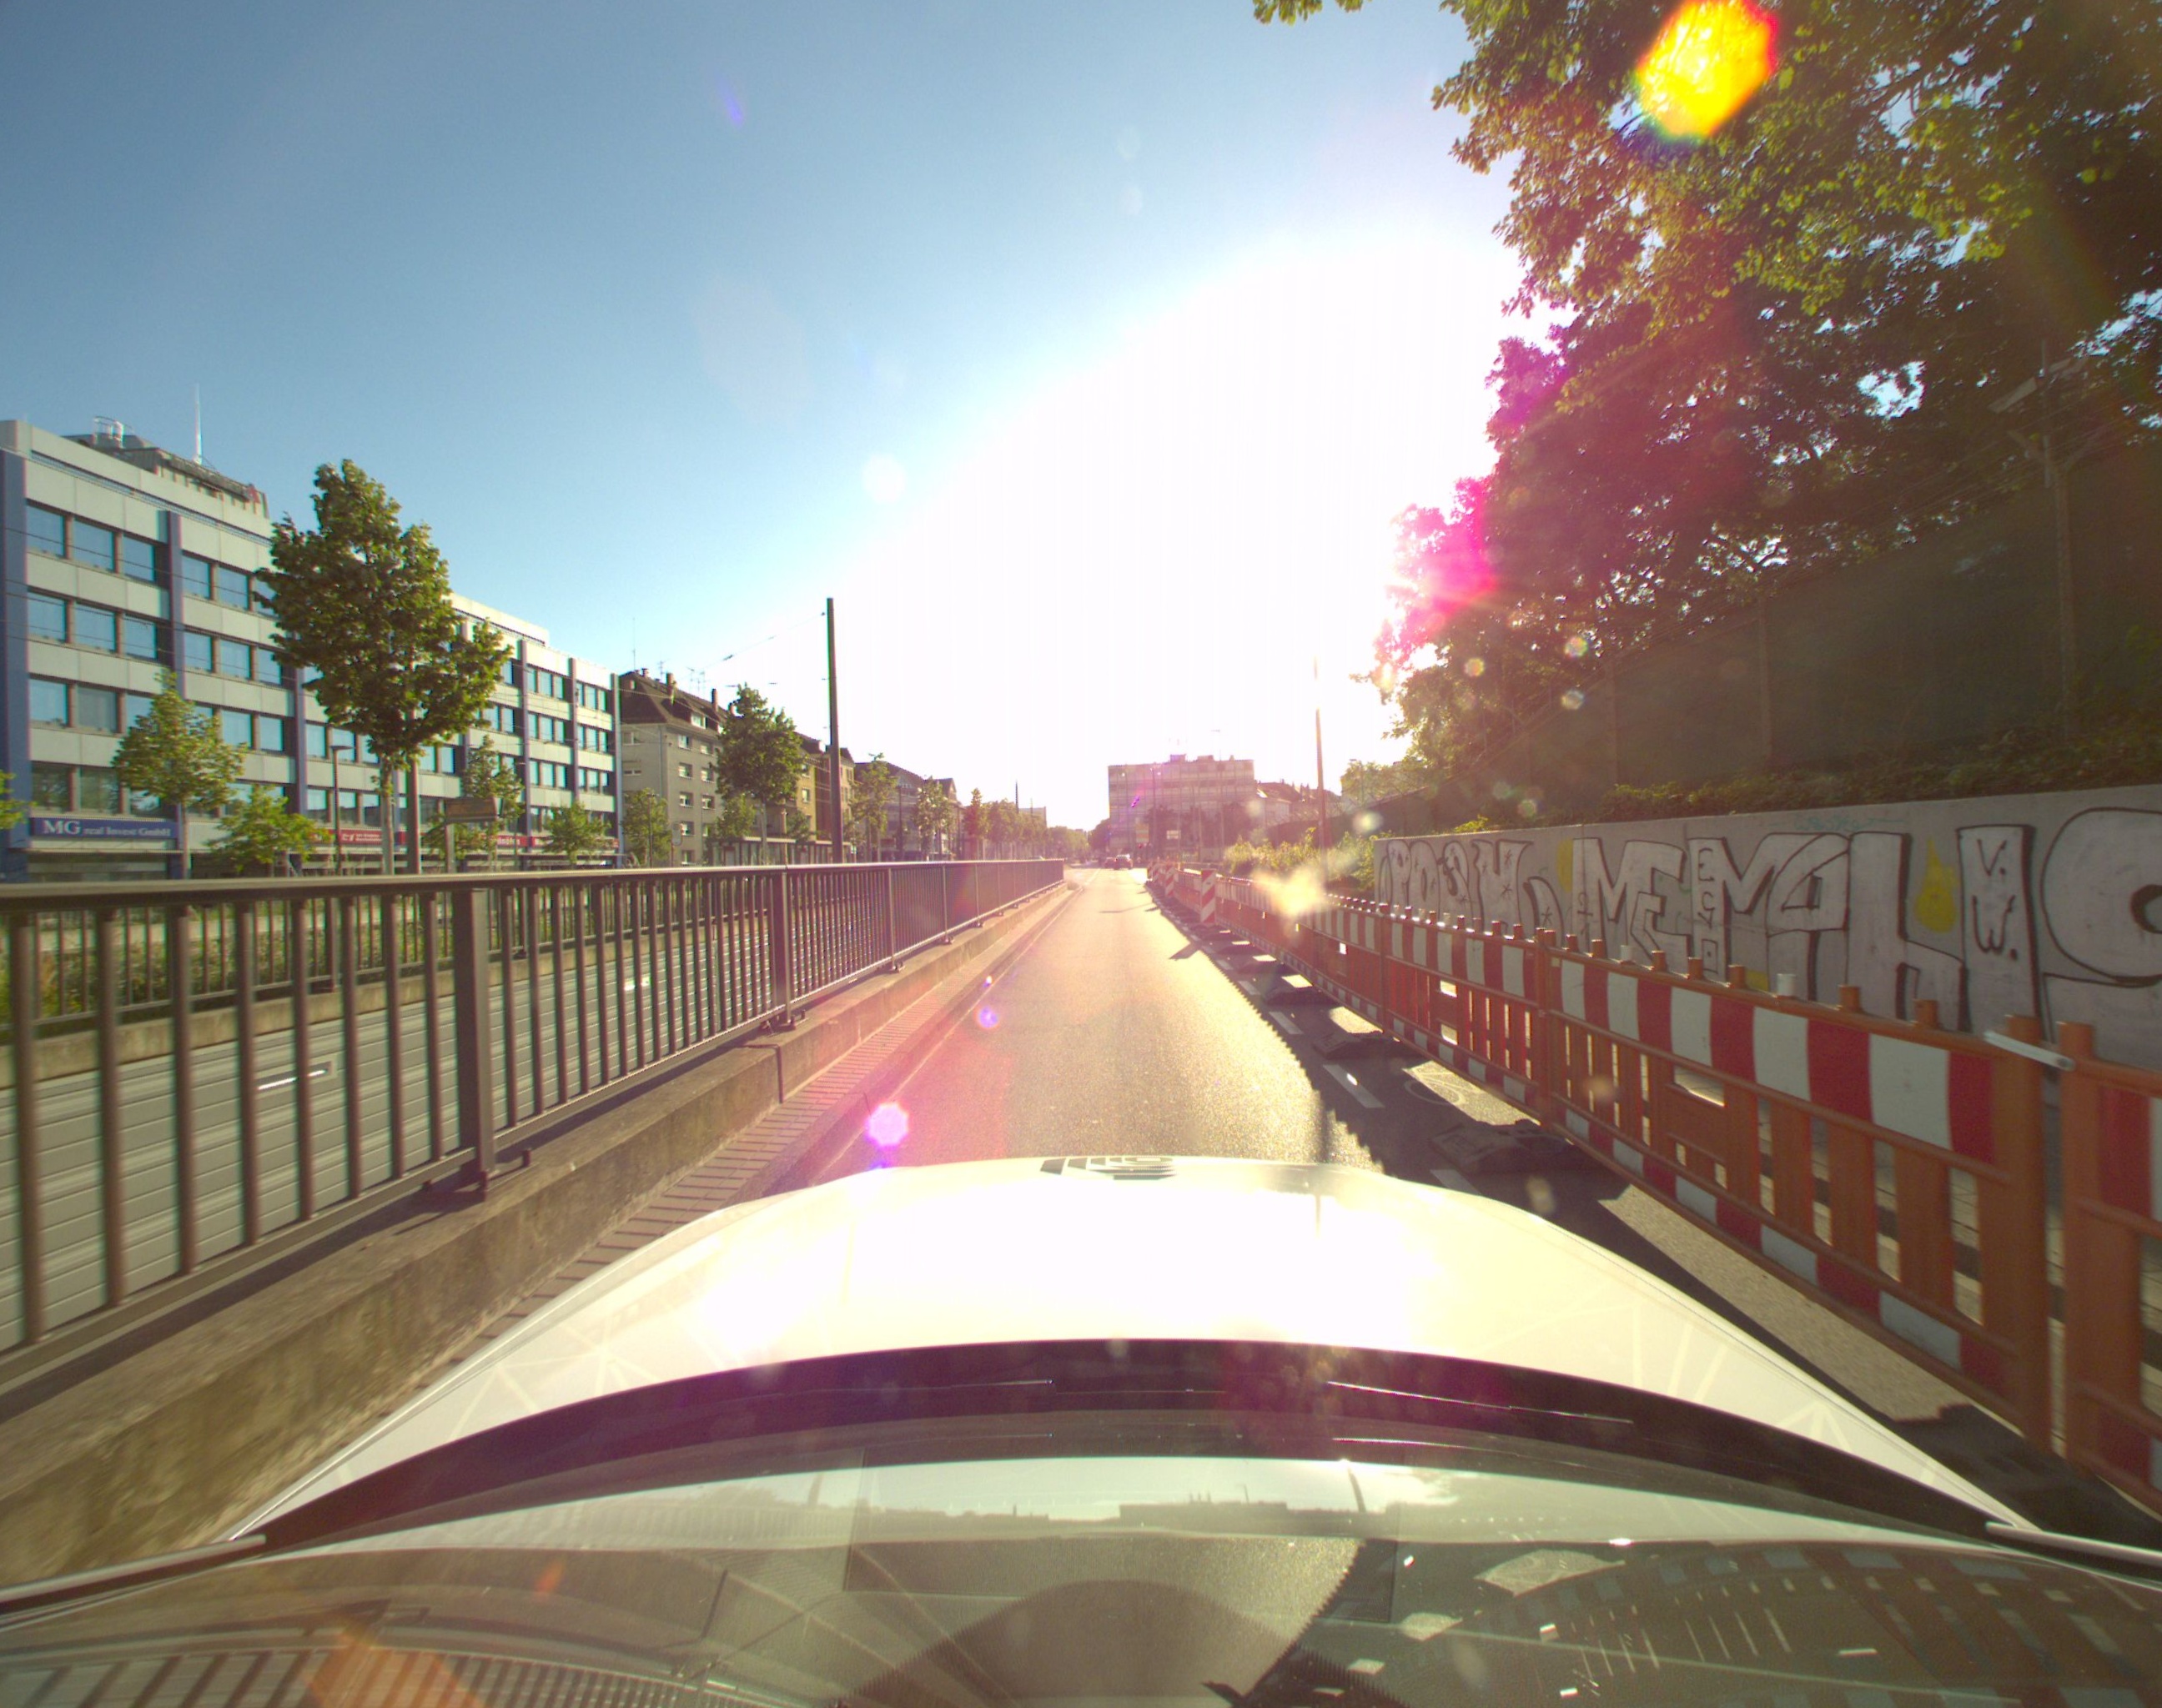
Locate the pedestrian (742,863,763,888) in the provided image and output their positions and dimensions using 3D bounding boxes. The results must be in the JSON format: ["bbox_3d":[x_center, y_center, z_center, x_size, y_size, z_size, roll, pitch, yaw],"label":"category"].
[{"bbox_3d":[-19.141,1.230,47.397,0.835,1.410,0.804,-2,0,1],"label":"pedestrian"}]

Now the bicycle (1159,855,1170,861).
[{"bbox_3d":[15.309,0.733,149.369,1.775,1.072,0.533,-2,-1,-9],"label":"bicycle"}]

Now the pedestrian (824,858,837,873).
[{"bbox_3d":[-18.388,0.865,59.789,0.625,1.047,0.794,-2,0,1],"label":"pedestrian"}]

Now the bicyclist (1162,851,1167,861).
[{"bbox_3d":[15.289,0.413,149.372,0.663,1.712,0.537,-2,-1,-8],"label":"bicyclist"}]

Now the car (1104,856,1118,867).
[{"bbox_3d":[3.891,1.006,107.400,1.738,1.426,4.000,-2,0,1],"label":"car"}]

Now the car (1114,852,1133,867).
[{"bbox_3d":[5.012,0.648,96.128,1.983,1.693,4.007,-1,1,6],"label":"car"}]

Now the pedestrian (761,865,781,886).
[{"bbox_3d":[-19.019,1.311,49.968,0.930,1.197,0.764,-2,0,1],"label":"pedestrian"}]

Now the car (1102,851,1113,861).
[{"bbox_3d":[6.847,0.581,211.807,2.477,2.392,5.935,-4,-1,1],"label":"car"}]
